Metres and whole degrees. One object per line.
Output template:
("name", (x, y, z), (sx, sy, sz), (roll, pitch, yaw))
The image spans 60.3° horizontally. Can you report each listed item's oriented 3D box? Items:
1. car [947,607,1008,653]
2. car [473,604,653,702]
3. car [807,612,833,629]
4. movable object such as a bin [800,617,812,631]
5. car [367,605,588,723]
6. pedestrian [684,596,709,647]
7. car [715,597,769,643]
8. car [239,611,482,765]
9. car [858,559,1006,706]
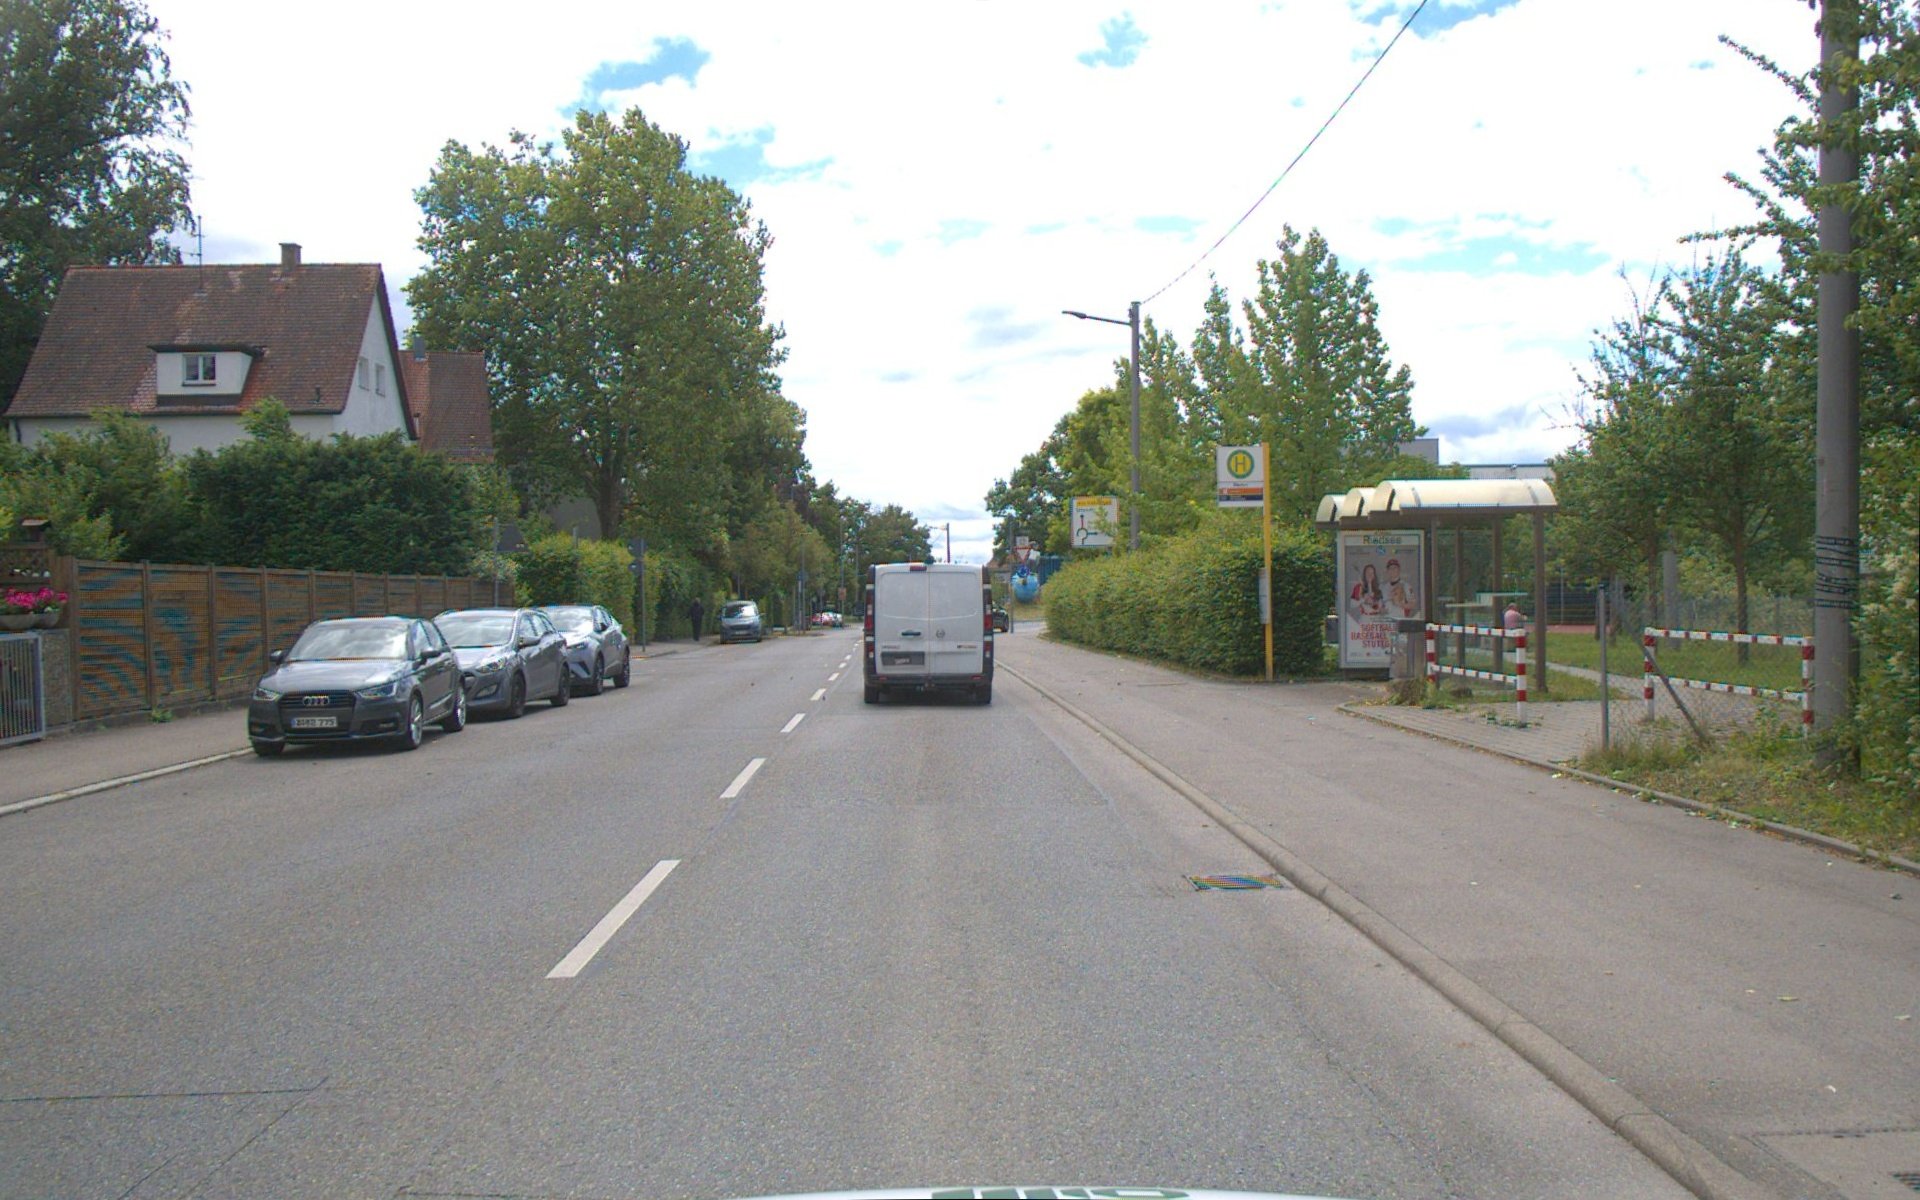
("car", (0.861, 1.386, 78.020), (1.951, 2.049, 4.003), (1, 0, 15))
("car", (-6.915, 0.875, 29.336), (1.952, 1.505, 4.647), (-2, 0, 1))
("car", (-13.314, 1.945, 157.627), (2.026, 1.410, 4.036), (-1, 1, -11))
("movable object such as a bin", (-10.248, 1.573, 110.243), (0.616, 0.878, 0.640), (-3, 0, 8))
("car", (-6.760, 0.832, 23.707), (1.829, 1.484, 4.488), (-1, 0, 0))
("pedestrian", (-10.770, 0.879, 67.649), (0.855, 2.049, 1.039), (-2, 0, -6))
("car", (-9.008, 0.790, 68.101), (2.093, 1.803, 4.455), (1, 0, -9))
("car", (-6.700, 0.911, 18.897), (1.619, 1.452, 3.901), (-2, 1, -5))
("car", (-0.478, 0.435, 24.947), (1.994, 1.979, 4.991), (1, 0, -2))
